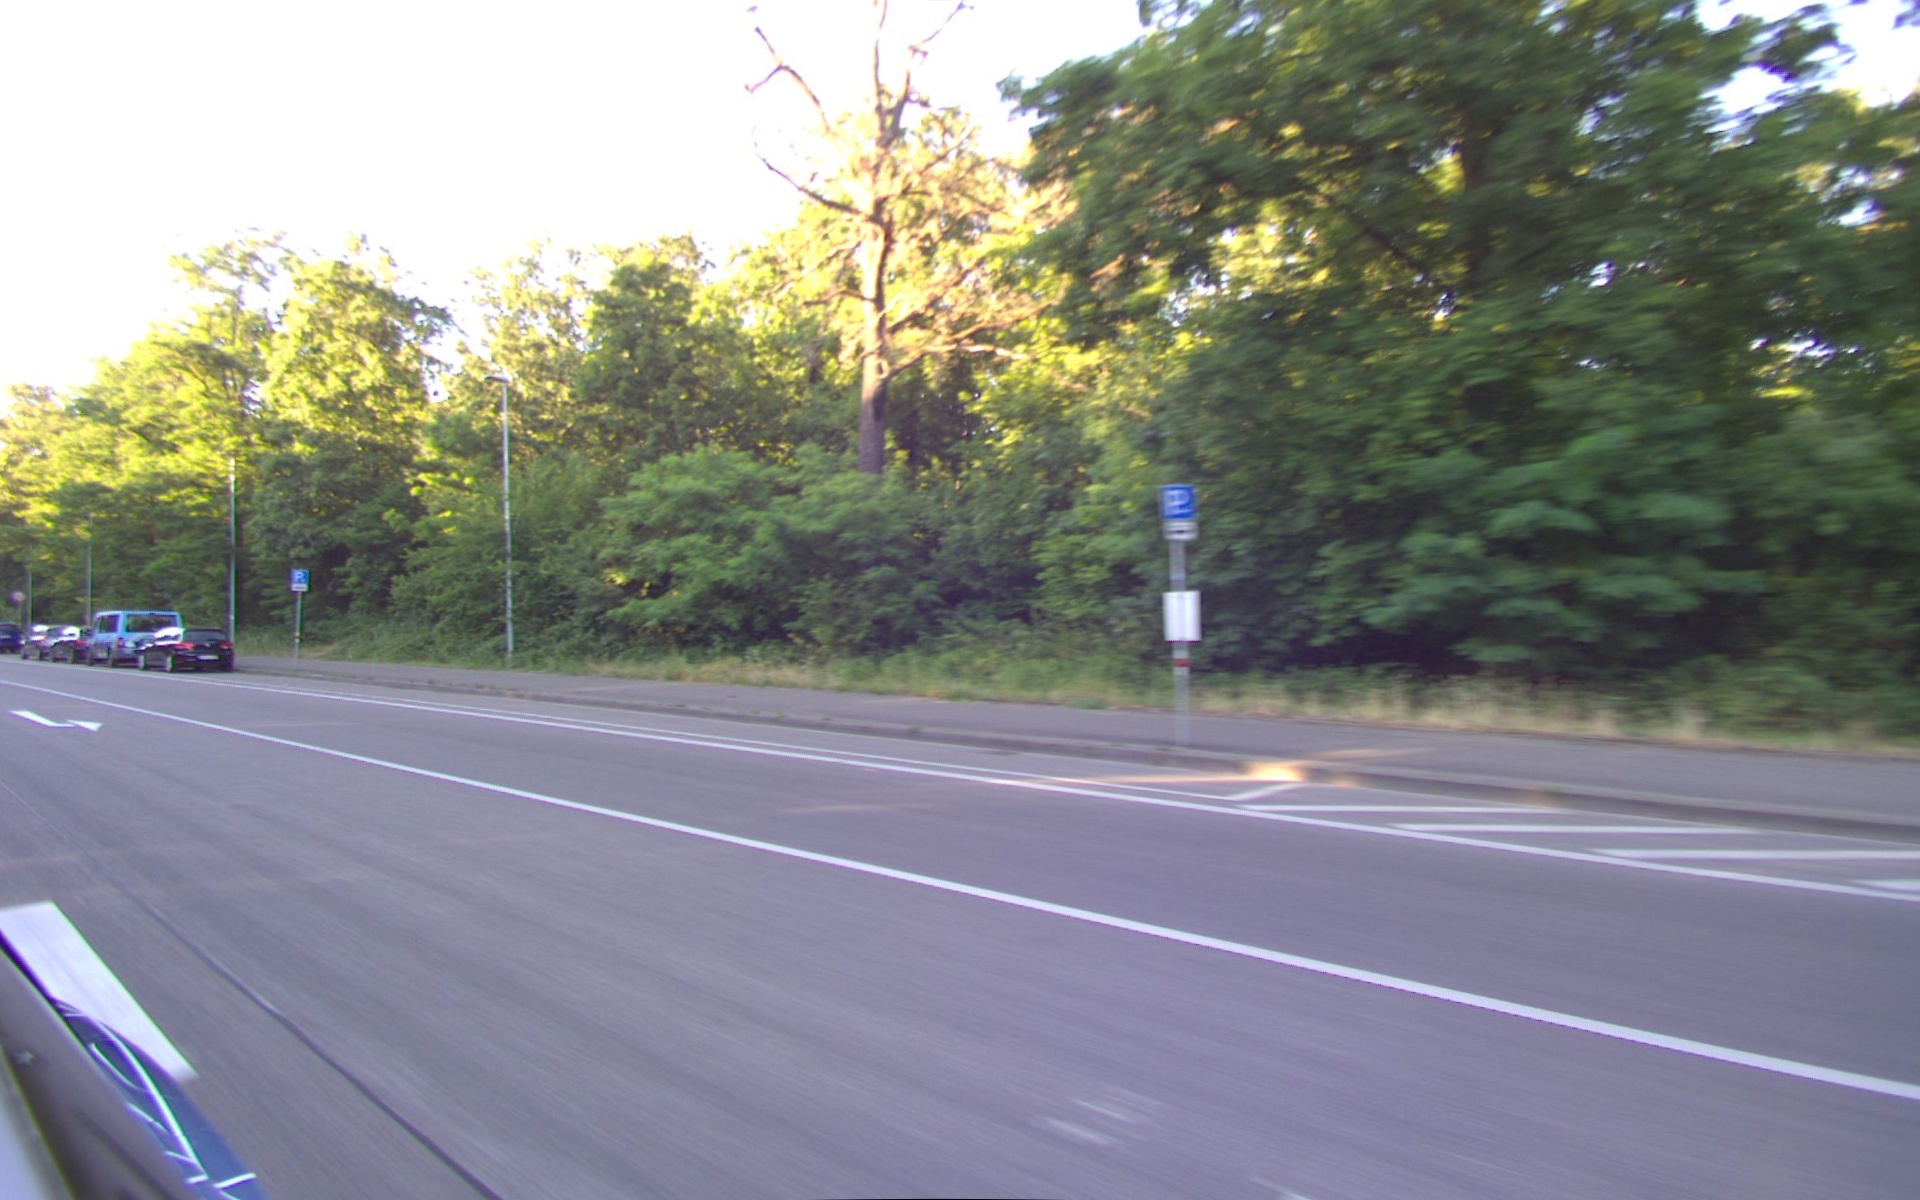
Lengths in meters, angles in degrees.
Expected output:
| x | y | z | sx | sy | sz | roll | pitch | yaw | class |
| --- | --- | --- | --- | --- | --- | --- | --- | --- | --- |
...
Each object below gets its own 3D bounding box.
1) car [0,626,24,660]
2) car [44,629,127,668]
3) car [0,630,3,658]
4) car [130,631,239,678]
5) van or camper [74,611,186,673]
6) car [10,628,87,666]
| x | y | z | sx | sy | sz | roll | pitch | yaw | class |
| --- | --- | --- | --- | --- | --- | --- | --- | --- | --- |
| -49.896 | 2.203 | 52.165 | 4.518 | 1.725 | 1.728 | -2 | -3 | 39 | car |
| -34.800 | 1.914 | 40.244 | 3.962 | 1.505 | 1.529 | -1 | -3 | 35 | car |
| -53.788 | 2.383 | 55.248 | 4.241 | 1.513 | 1.652 | -2 | -3 | 39 | car |
| -25.779 | 1.778 | 33.598 | 4.234 | 1.473 | 1.672 | -1 | -3 | 36 | car |
| -30.345 | 1.525 | 36.957 | 5.006 | 2.110 | 2.012 | -2 | -3 | 37 | van or camper |
| -39.027 | 2.003 | 43.325 | 4.031 | 1.546 | 1.602 | -1 | -3 | 36 | car |
